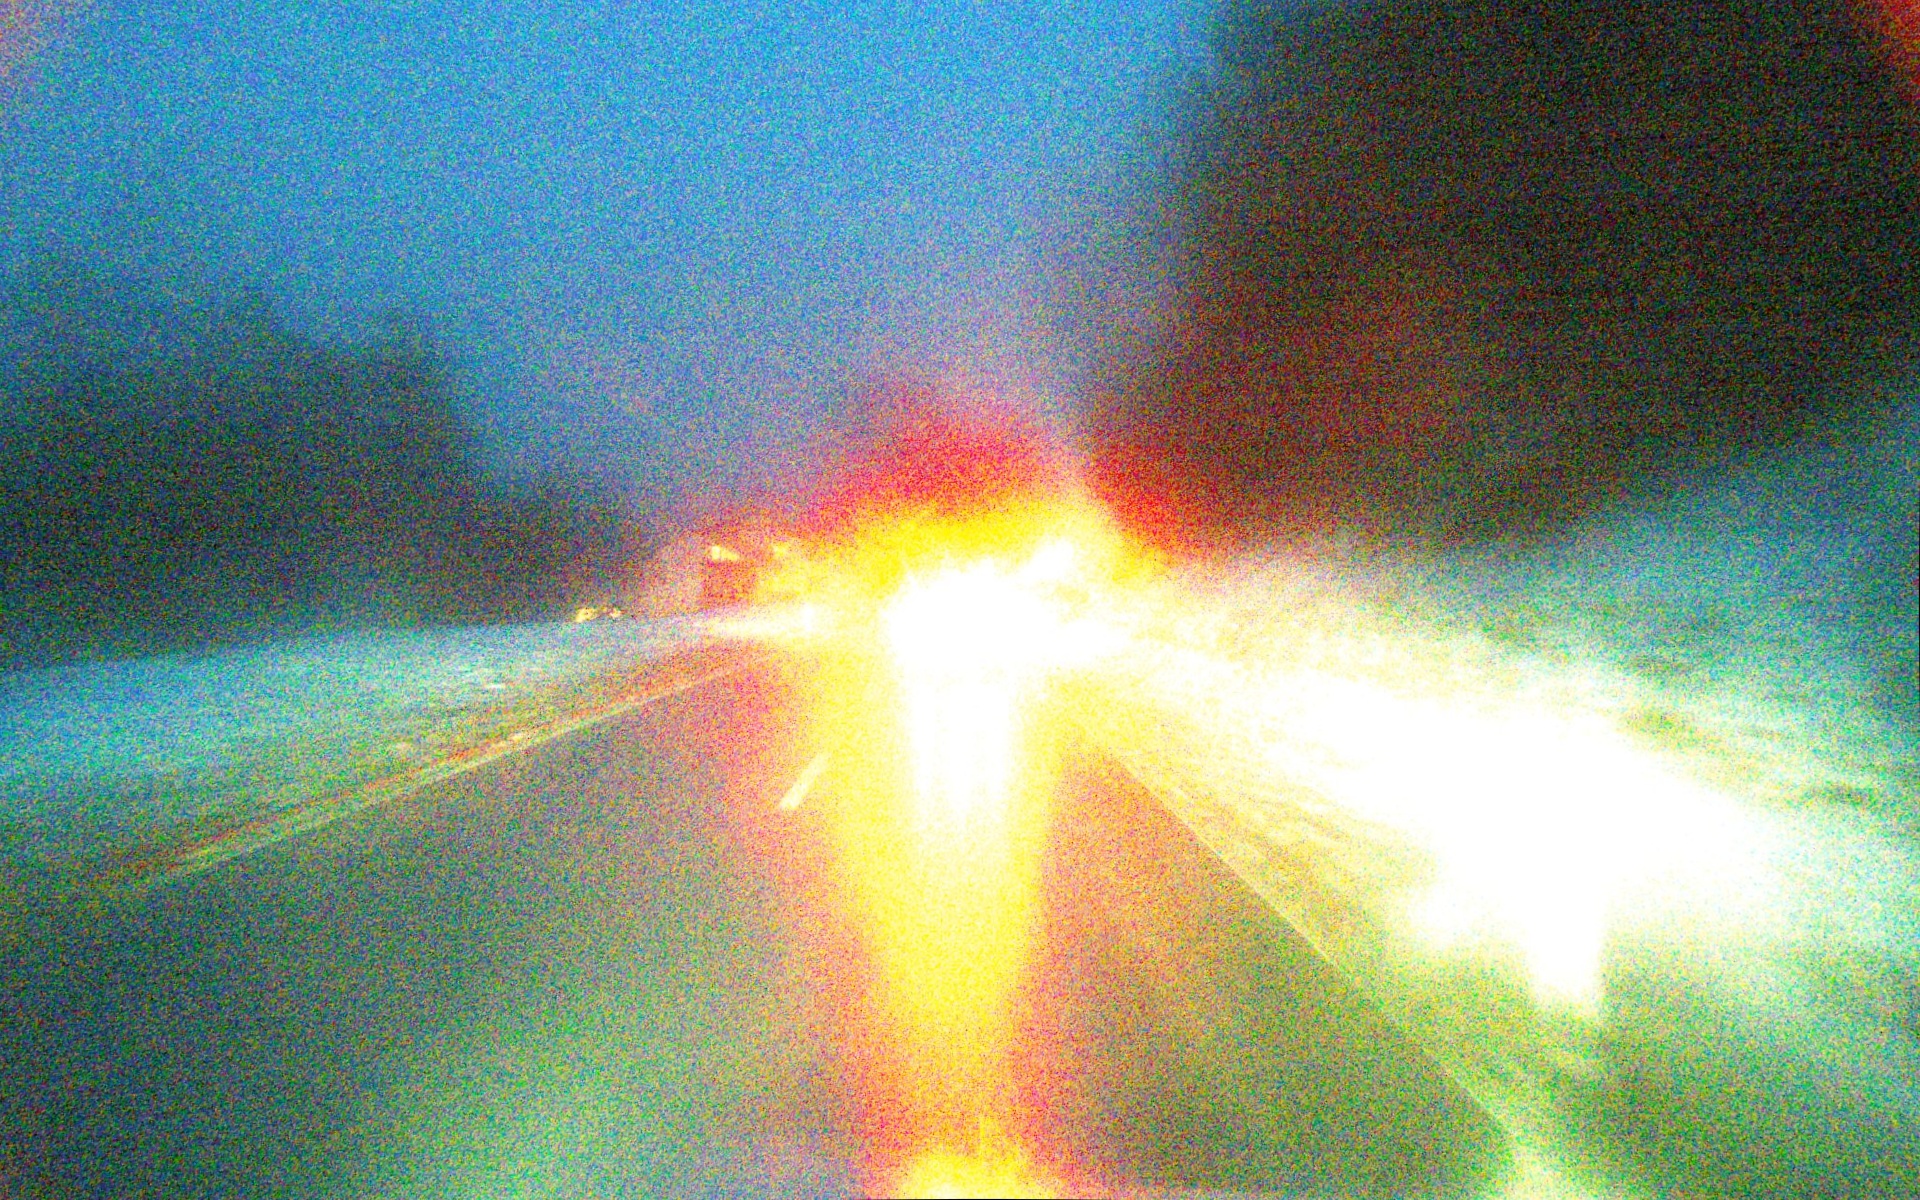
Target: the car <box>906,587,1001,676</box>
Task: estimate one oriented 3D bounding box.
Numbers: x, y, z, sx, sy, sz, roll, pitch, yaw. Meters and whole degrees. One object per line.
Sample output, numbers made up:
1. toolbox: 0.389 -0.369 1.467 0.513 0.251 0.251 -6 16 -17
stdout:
1. car: -0.130 0.593 32.788 1.765 1.657 3.615 0 0 -1
